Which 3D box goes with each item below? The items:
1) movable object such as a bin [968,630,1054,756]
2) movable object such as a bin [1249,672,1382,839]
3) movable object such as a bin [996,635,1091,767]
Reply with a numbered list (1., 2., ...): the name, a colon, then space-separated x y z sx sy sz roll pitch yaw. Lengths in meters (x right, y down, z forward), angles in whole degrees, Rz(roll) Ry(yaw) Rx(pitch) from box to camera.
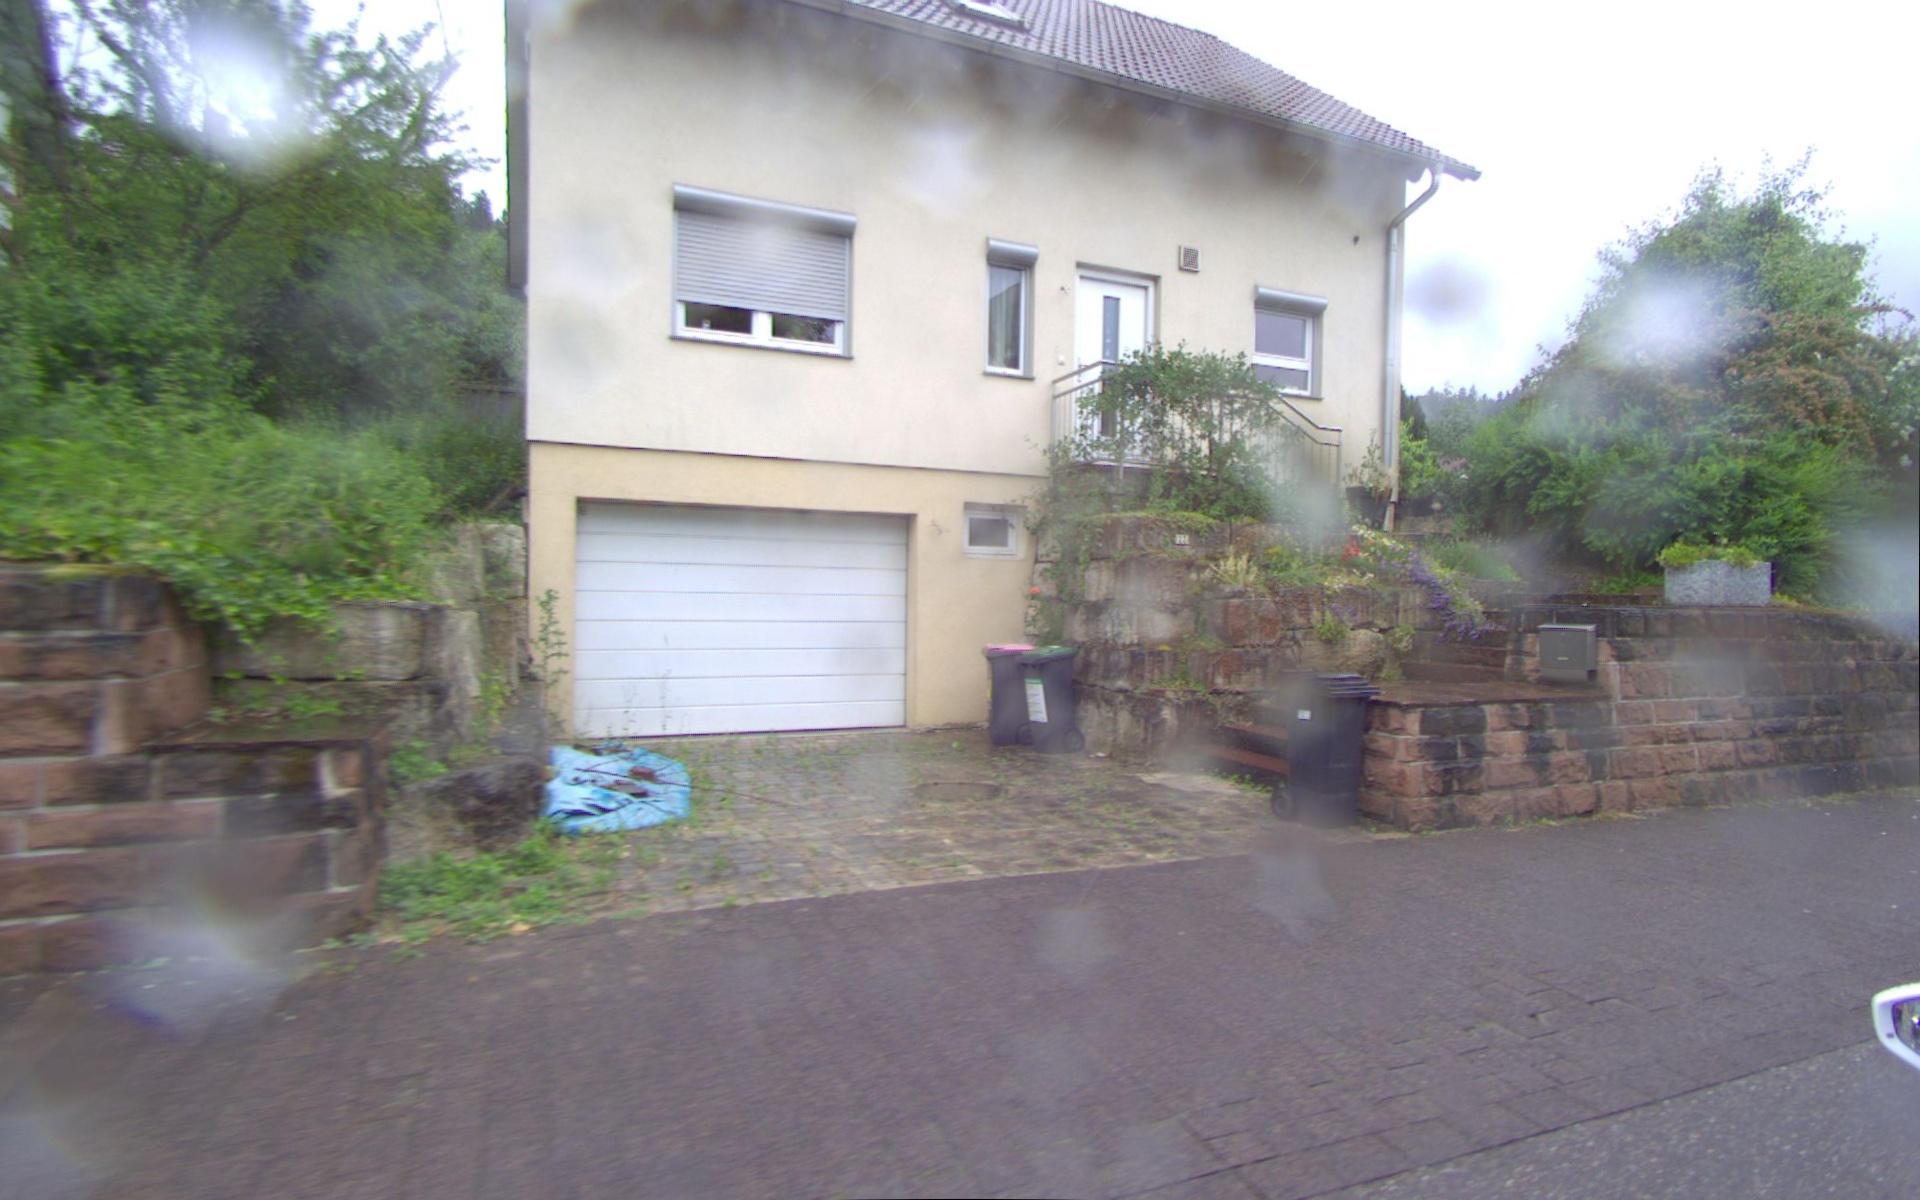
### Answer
1. movable object such as a bin: 0.482 0.875 9.677 0.639 1.122 0.606 0 3 -17
2. movable object such as a bin: 2.236 0.956 6.348 0.537 0.943 0.536 1 2 -25
3. movable object such as a bin: 0.748 0.885 9.063 0.646 1.077 0.620 -2 3 -22
